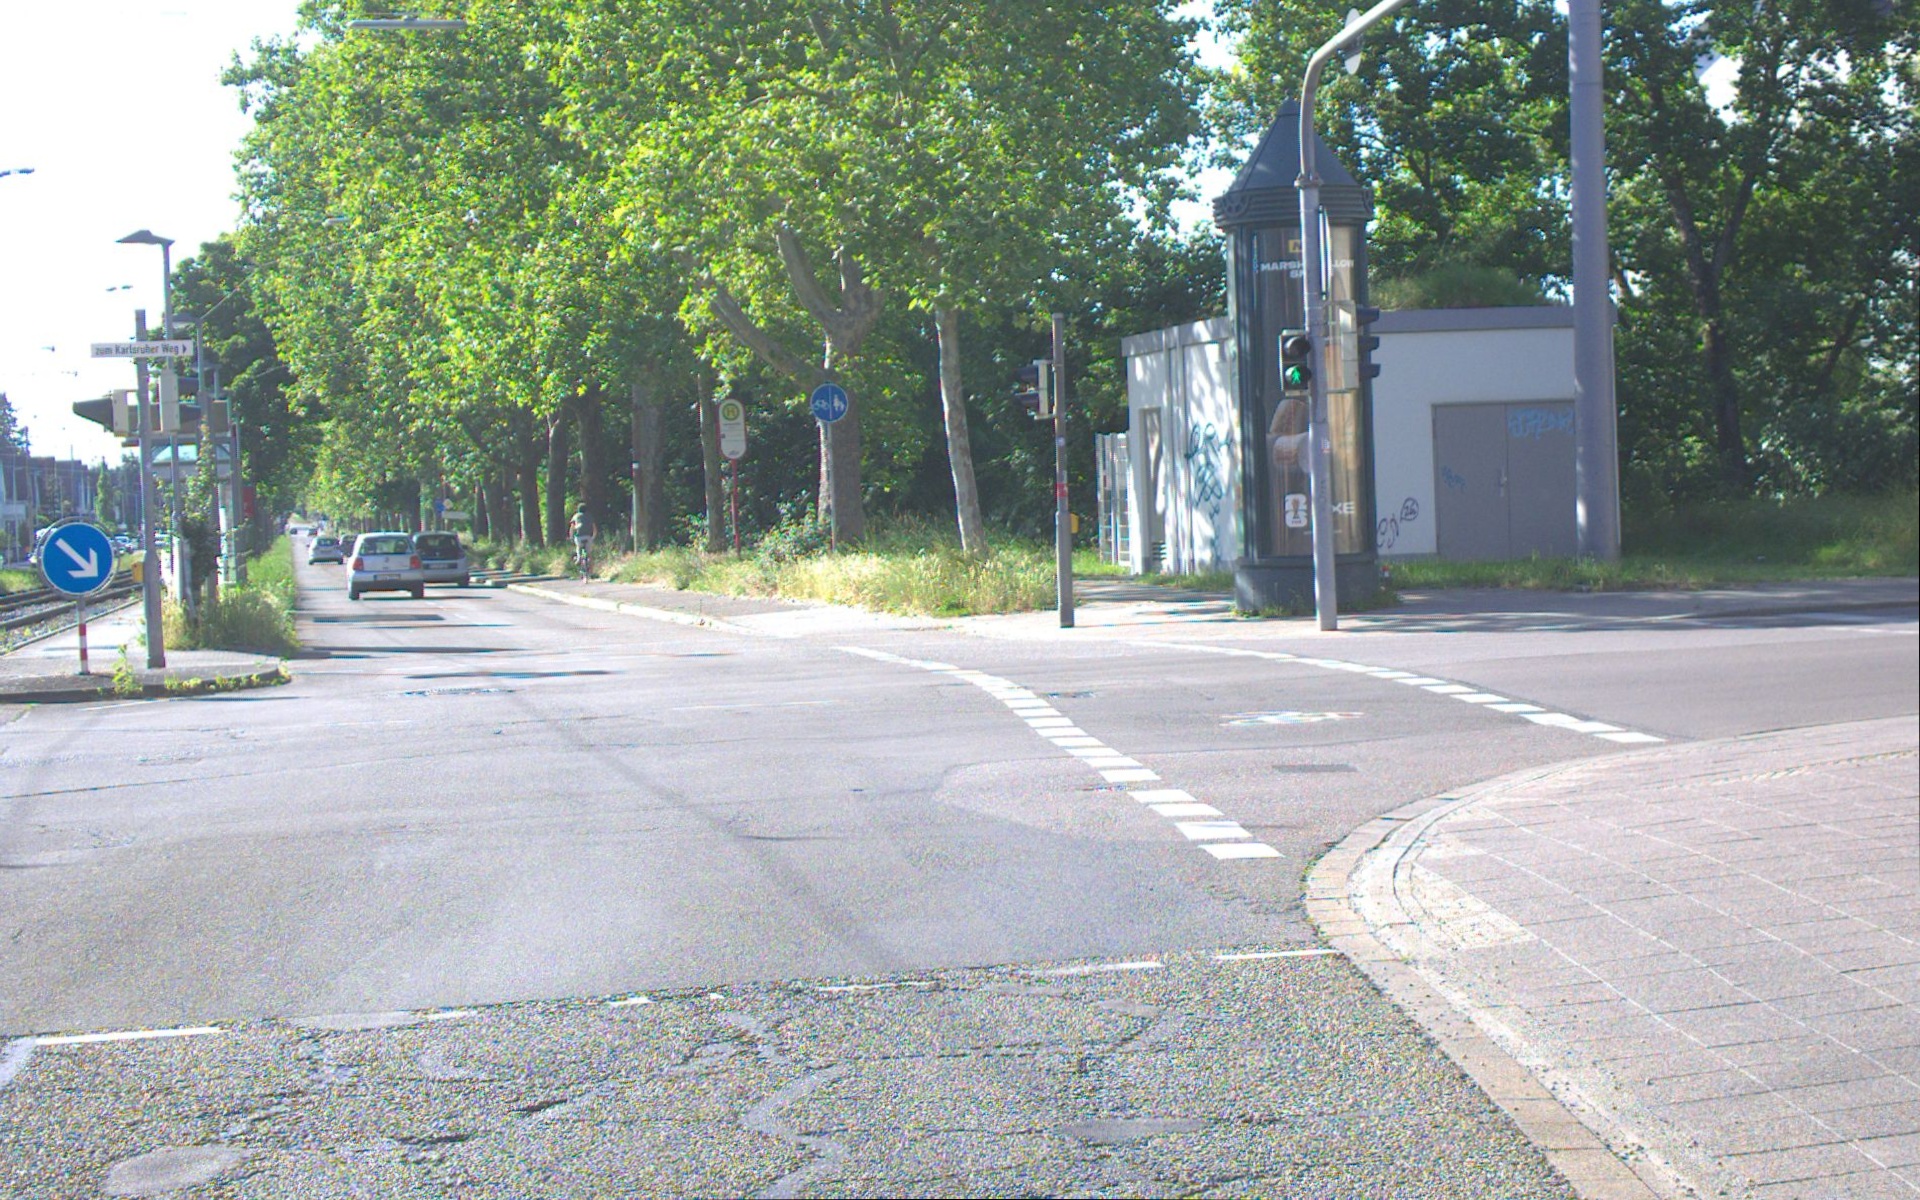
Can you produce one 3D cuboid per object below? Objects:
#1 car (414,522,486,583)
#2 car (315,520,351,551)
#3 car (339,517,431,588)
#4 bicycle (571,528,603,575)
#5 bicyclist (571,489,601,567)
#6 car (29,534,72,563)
[{"bbox_3d":[-13.952,-1.314,93.876,1.750,1.599,3.751,-2,2,-11],"label":"car"},{"bbox_3d":[-33.692,-3.479,184.565,1.750,1.599,3.582,-3,2,-12],"label":"car"},{"bbox_3d":[-12.674,-1.058,75.661,1.867,1.481,3.556,-2,1,-11],"label":"car"},{"bbox_3d":[-8.643,-1.121,79.626,0.536,1.062,1.434,-3,2,-13],"label":"bicycle"},{"bbox_3d":[-8.664,-1.671,79.603,0.534,1.763,0.713,-3,1,-13],"label":"bicyclist"},{"bbox_3d":[-48.333,-2.760,182.757,1.993,1.464,4.378,-2,1,-12],"label":"car"}]
